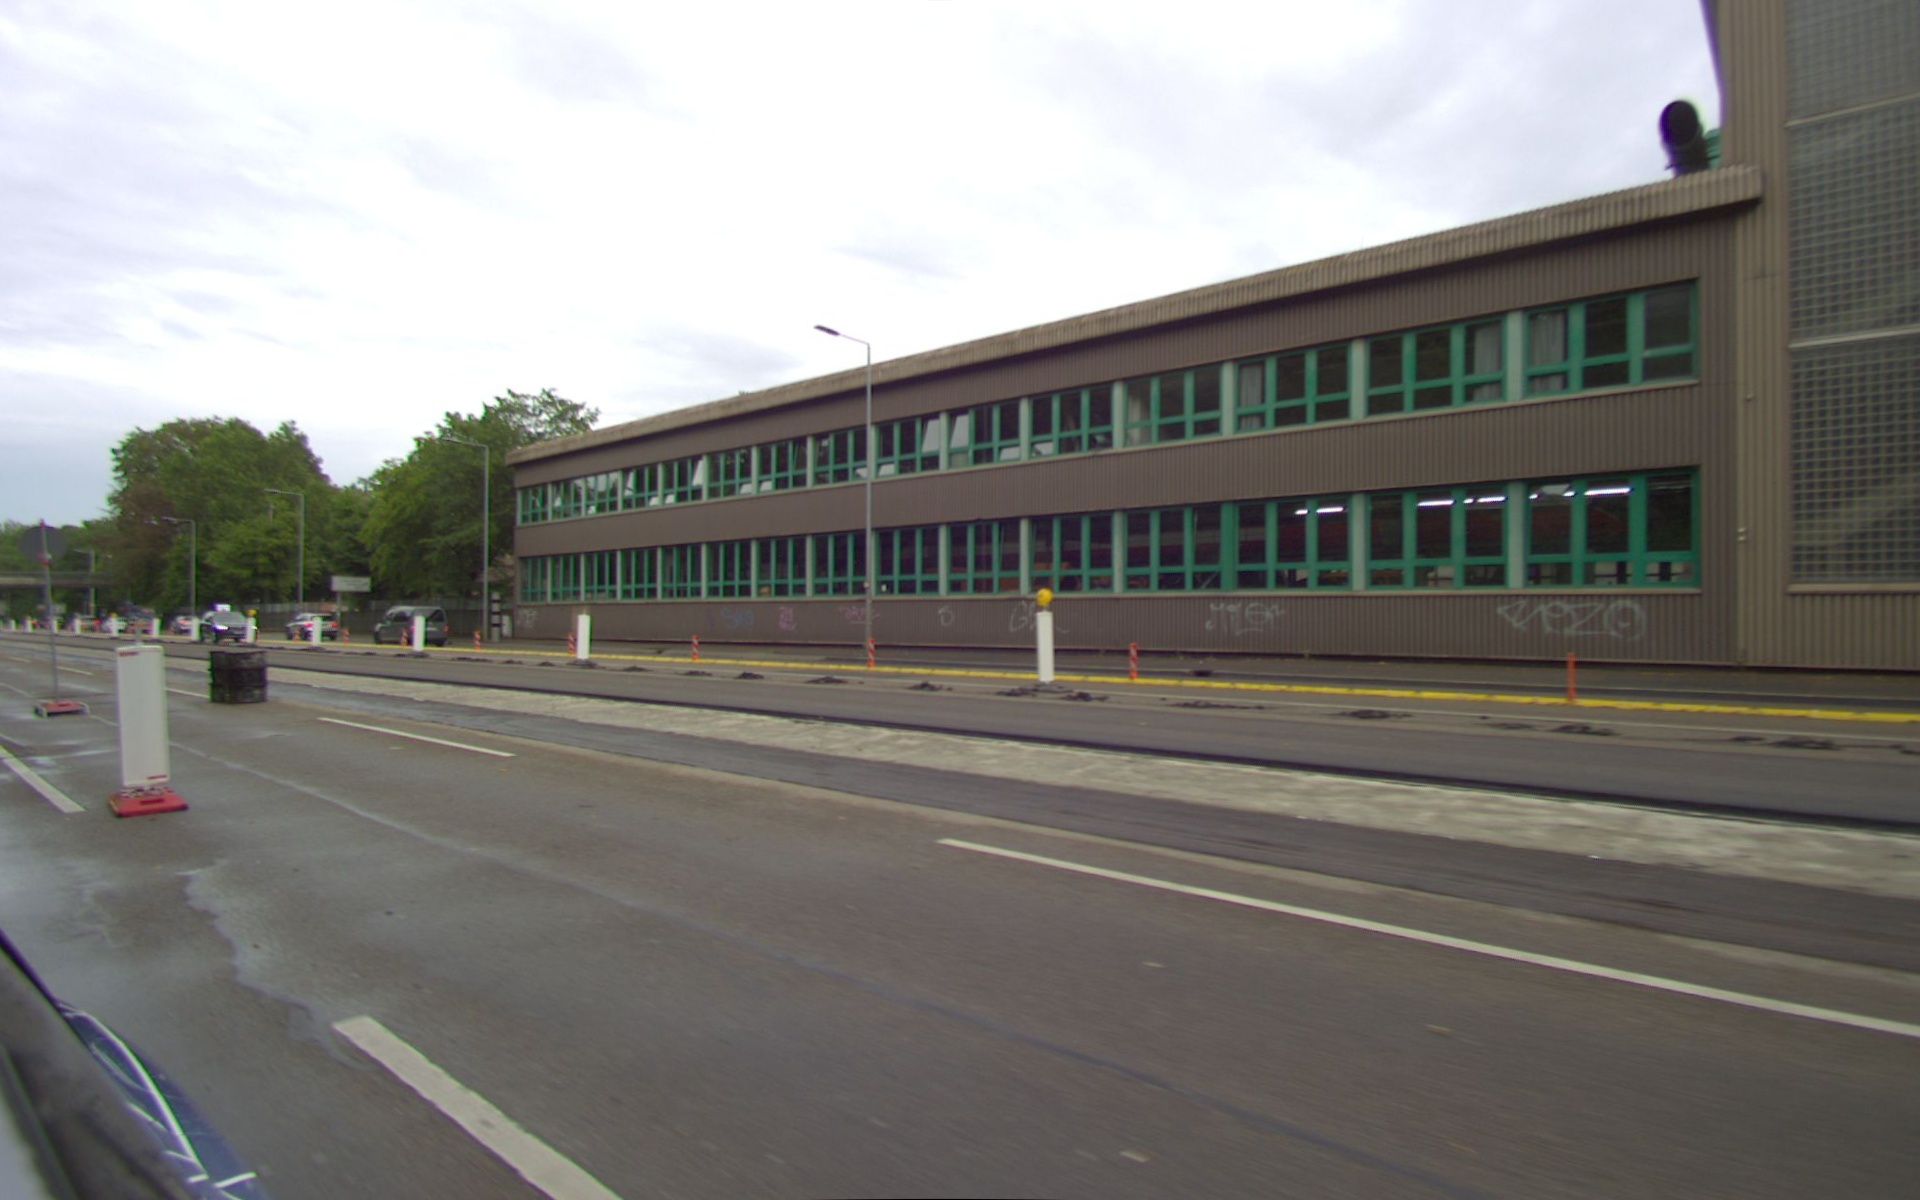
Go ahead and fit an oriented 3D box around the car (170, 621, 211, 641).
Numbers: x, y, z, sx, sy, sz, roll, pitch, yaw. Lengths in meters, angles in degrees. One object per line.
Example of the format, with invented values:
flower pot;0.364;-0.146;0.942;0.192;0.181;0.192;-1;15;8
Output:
car;-65.471;2.644;86.113;4.177;1.598;1.973;-1;0;41

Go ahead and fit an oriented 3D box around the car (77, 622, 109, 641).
car;-87.950;3.150;102.675;4.674;1.781;1.967;-1;0;43

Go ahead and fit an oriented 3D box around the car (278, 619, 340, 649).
car;-40.626;2.090;63.111;4.932;1.719;1.918;-1;0;40

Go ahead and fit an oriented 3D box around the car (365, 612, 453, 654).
car;-25.228;1.486;46.246;4.952;1.794;1.972;-1;0;42

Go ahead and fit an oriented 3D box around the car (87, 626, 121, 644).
car;-76.980;3.130;91.020;3.990;1.546;1.785;-1;0;41

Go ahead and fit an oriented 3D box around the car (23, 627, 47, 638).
car;-125.950;4.369;137.804;4.262;1.440;1.973;-2;-1;40
